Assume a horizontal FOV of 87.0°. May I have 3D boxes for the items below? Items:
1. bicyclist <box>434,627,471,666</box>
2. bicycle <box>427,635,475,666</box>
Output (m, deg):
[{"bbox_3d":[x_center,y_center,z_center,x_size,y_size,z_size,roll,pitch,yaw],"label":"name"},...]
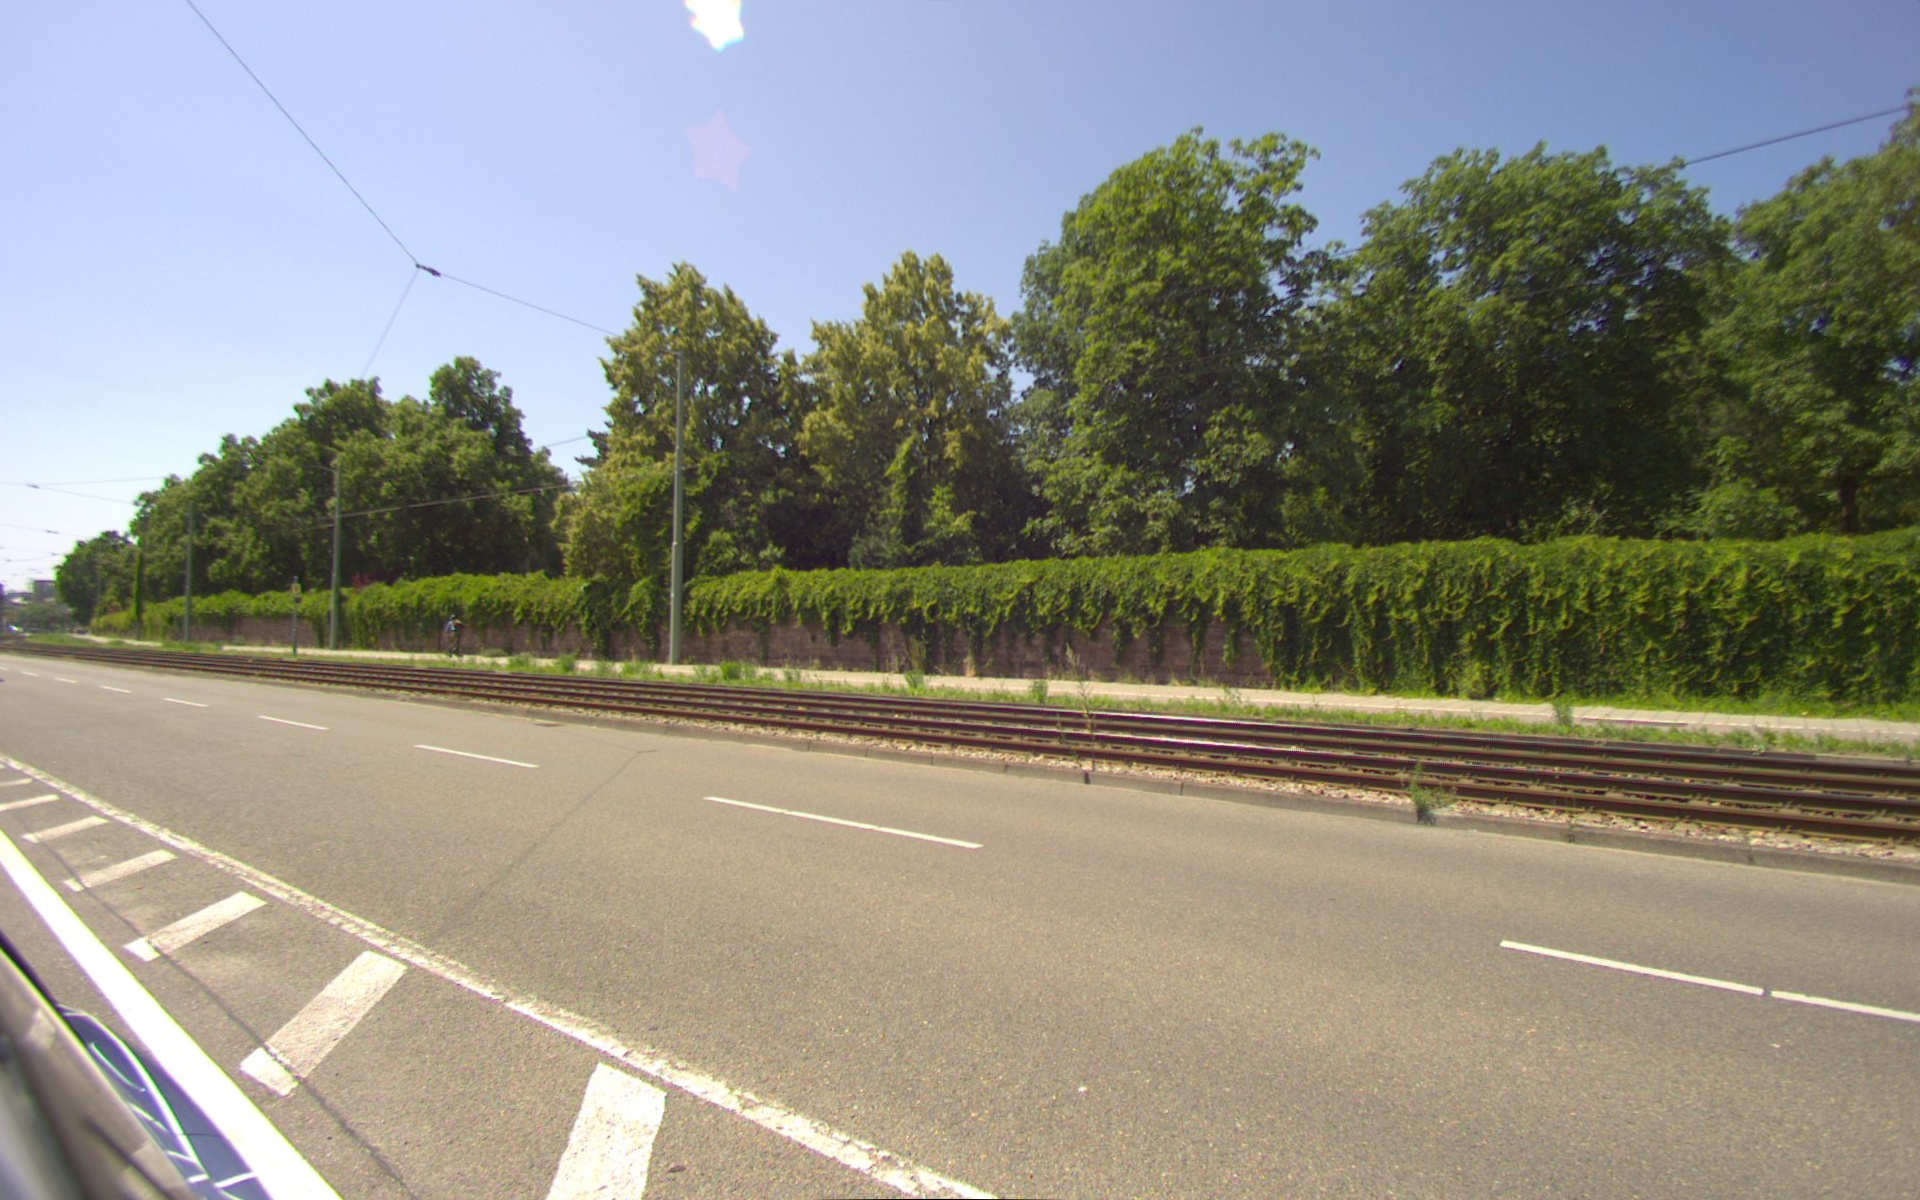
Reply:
[{"bbox_3d":[-19.808,1.807,39.512,1.000,1.497,0.984,-2,-2,42],"label":"bicyclist"},{"bbox_3d":[-19.925,1.964,39.610,2.685,1.165,0.819,-2,-2,44],"label":"bicycle"}]
